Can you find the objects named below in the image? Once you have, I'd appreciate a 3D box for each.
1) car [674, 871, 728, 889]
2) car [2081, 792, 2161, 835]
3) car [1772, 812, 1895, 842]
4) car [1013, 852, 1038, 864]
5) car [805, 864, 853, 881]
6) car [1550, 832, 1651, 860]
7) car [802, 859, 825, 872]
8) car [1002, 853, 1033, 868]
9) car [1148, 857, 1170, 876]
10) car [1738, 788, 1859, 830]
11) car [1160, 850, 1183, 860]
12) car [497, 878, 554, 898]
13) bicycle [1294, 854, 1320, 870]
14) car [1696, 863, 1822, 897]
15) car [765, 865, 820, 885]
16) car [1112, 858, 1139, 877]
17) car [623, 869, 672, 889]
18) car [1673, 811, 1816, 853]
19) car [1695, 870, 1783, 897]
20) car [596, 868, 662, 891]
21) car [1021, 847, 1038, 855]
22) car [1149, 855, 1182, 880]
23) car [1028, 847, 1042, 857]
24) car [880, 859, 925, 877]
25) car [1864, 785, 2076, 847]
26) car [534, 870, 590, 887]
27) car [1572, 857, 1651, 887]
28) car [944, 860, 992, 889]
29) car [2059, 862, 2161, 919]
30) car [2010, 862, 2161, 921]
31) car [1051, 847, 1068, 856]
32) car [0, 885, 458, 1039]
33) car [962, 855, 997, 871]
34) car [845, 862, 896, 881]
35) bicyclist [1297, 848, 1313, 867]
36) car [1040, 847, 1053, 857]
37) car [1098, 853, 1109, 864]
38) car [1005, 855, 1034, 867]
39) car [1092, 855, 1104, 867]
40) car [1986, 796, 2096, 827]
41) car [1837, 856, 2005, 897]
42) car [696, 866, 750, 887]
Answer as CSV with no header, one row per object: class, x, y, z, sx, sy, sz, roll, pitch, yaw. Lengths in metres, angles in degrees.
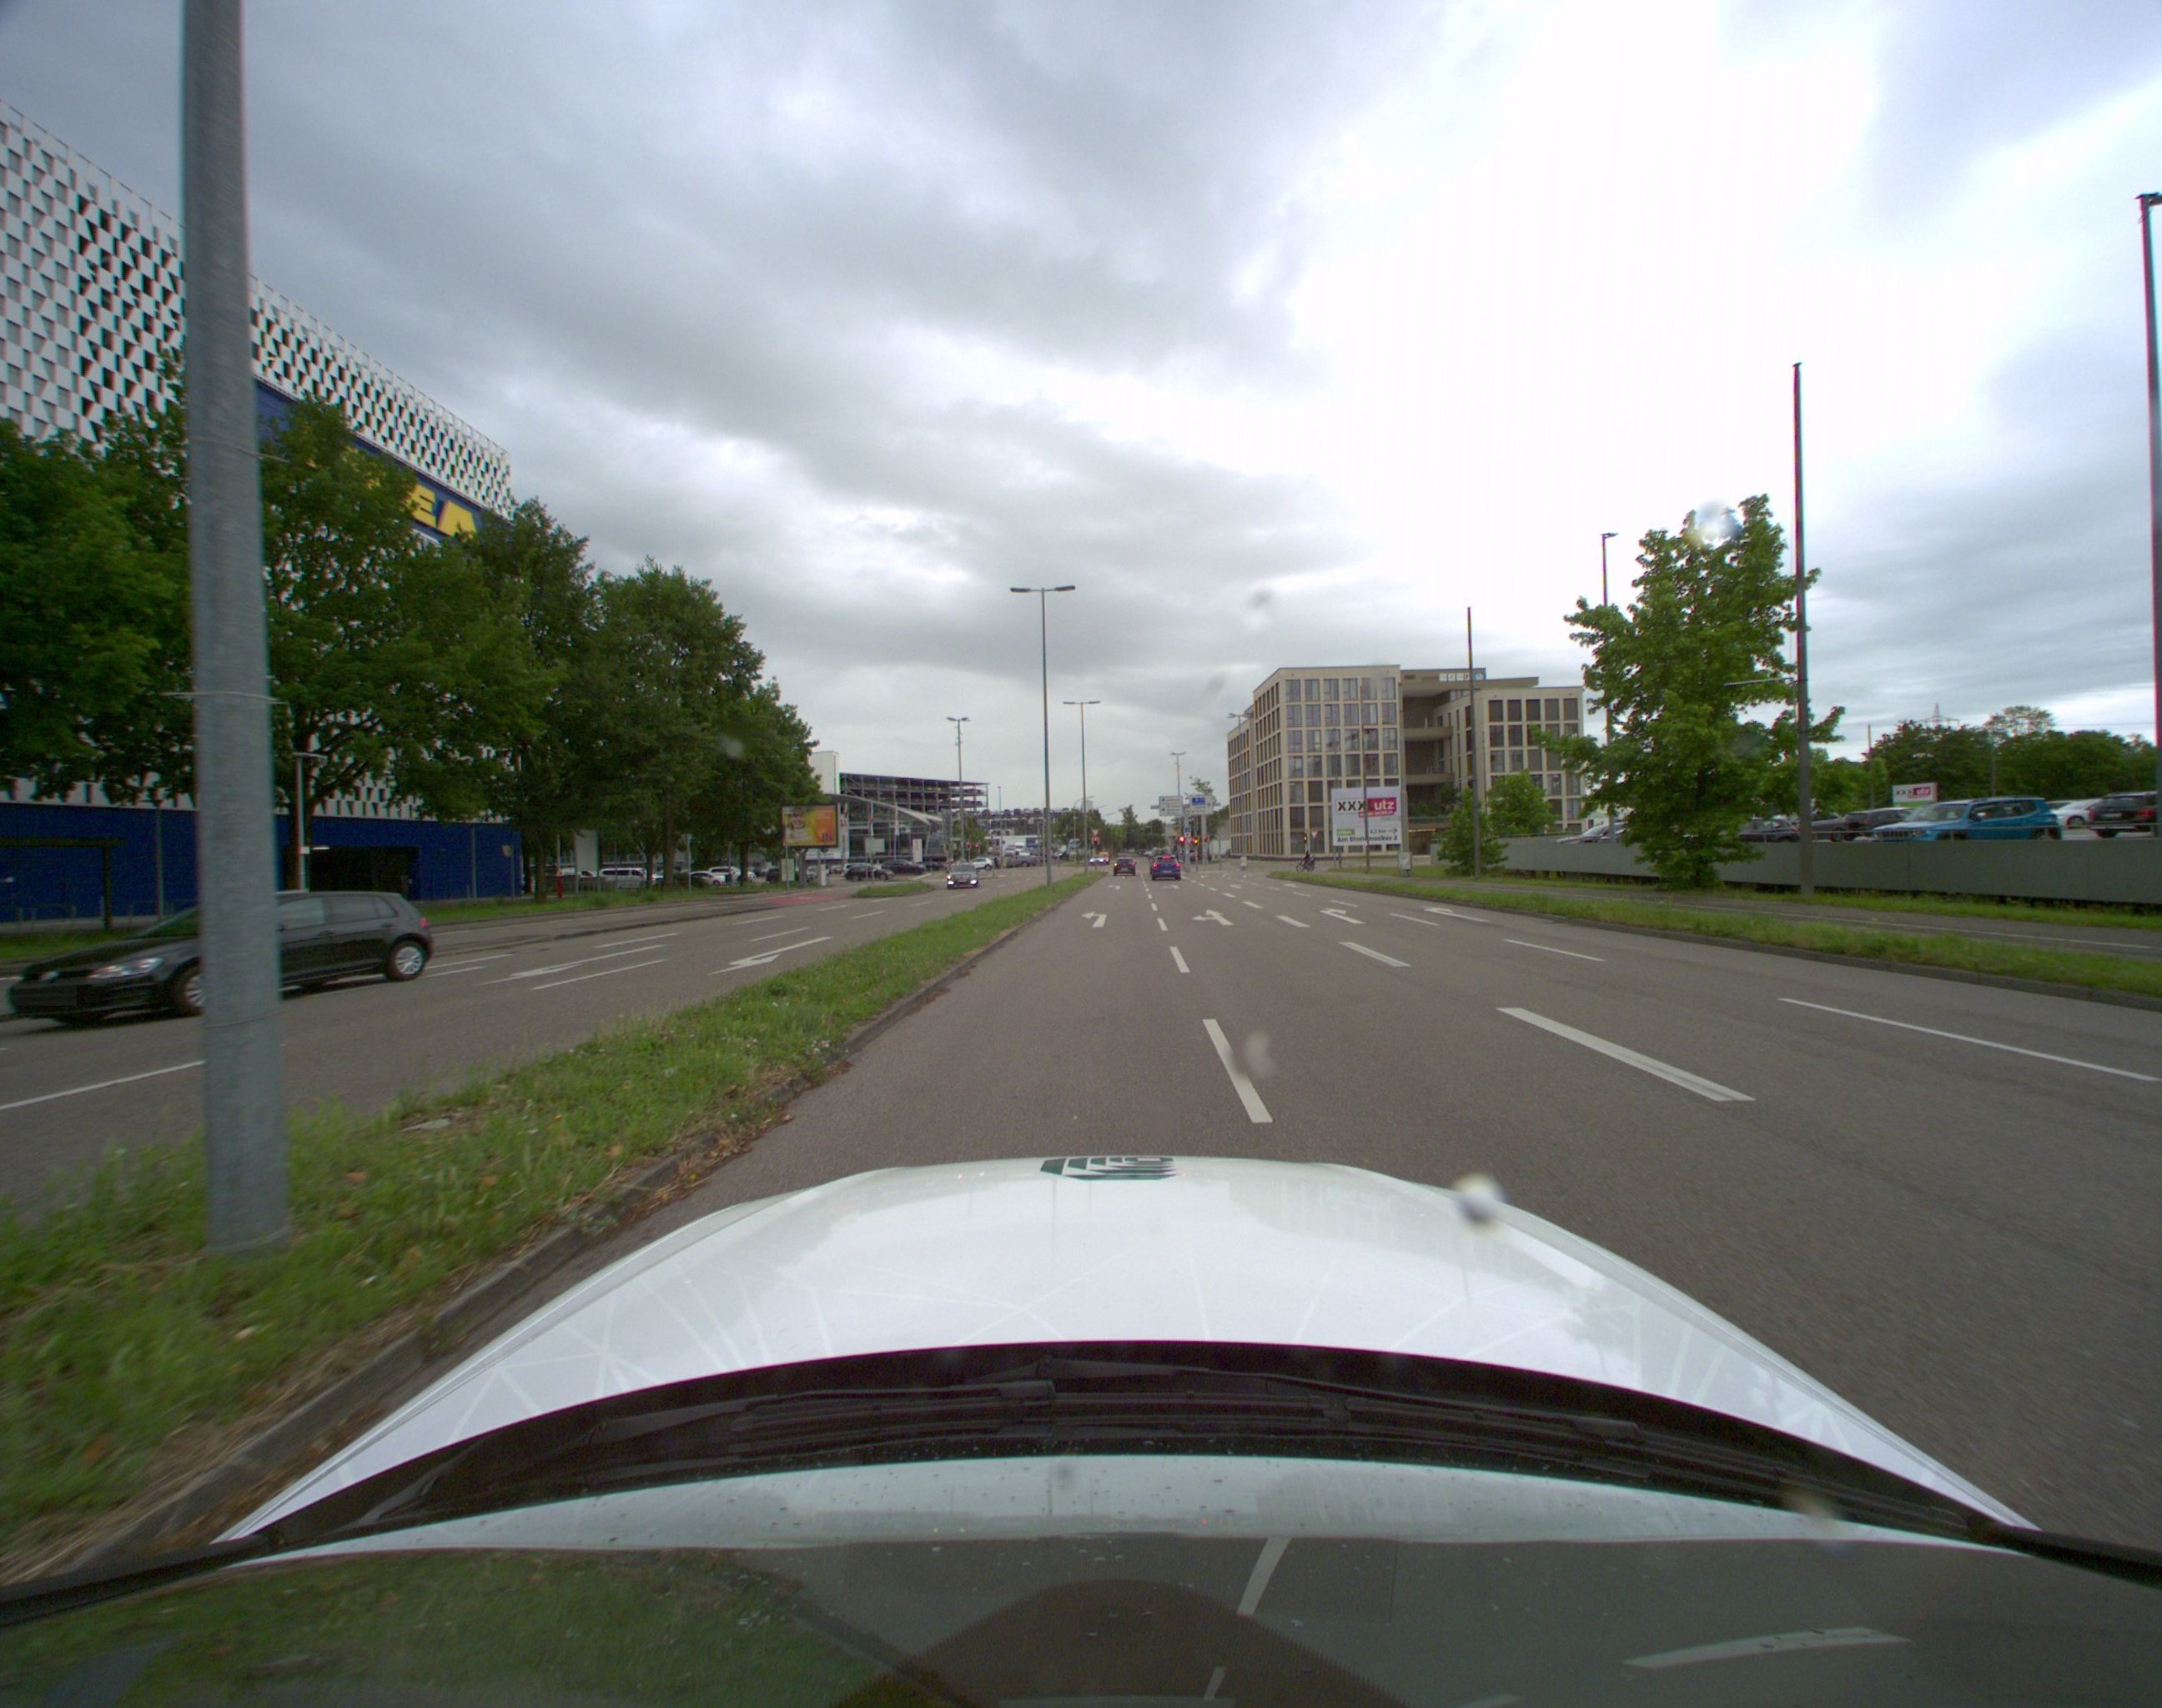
car,-36.338,2.473,77.992,4.215,1.512,1.993,-2,1,-2
car,39.243,-1.502,29.415,3.824,1.507,1.787,-2,1,5
car,36.183,-1.295,39.249,4.082,1.315,1.758,-1,2,10
car,-8.203,0.611,119.856,3.596,1.667,1.548,-2,2,-2
car,-25.261,1.852,81.789,4.240,1.509,1.997,-2,2,-4
car,24.298,-0.373,38.172,3.679,1.176,1.721,-2,1,1
car,-34.075,1.409,103.713,1.592,1.485,3.538,-2,2,2
car,-8.456,0.871,109.254,3.977,1.790,1.846,-2,2,-2
car,6.336,1.023,66.356,1.518,1.432,3.392,-1,1,2
car,41.613,-2.604,47.323,4.987,2.210,2.169,-1,2,6
car,15.508,0.193,139.321,3.571,1.478,1.770,-1,2,23
car,-53.203,3.273,78.006,4.107,1.667,1.847,-2,2,-1
bicycle,18.122,0.631,65.325,0.705,1.295,1.990,-1,0,-33
car,29.798,1.123,35.863,4.039,1.350,1.764,-1,0,1
car,-27.761,2.034,78.371,4.535,1.659,1.997,-3,0,-4
car,3.485,1.096,64.529,1.981,1.428,4.241,-1,-1,1
car,-43.345,2.512,81.429,3.747,1.746,1.881,-2,2,0
car,24.352,-0.797,29.973,3.860,1.384,1.720,-2,1,0
car,36.173,1.596,44.810,3.604,1.285,1.460,-1,2,4
car,-43.279,2.427,78.065,5.118,1.963,1.880,-2,3,-2
car,-11.692,-0.703,184.143,3.656,1.528,1.612,-2,2,-5
car,5.359,0.865,52.034,1.827,1.514,4.002,-2,-1,2
car,-8.655,-0.389,153.196,1.766,1.705,3.925,-1,2,8
car,-18.687,1.433,85.503,4.401,1.643,1.994,-2,2,-9
car,24.685,-1.040,22.706,4.057,1.524,1.811,-2,1,-2
car,-51.771,2.409,81.322,4.215,1.504,1.993,-2,1,-2
car,37.822,1.233,58.231,2.445,2.013,5.112,-1,0,3
car,-6.647,1.197,48.406,1.783,1.479,4.537,-3,0,5
car,23.899,0.754,17.623,3.500,1.131,1.607,-1,0,1
car,34.751,1.234,27.477,4.348,1.832,2.002,-1,0,3
car,-4.309,-0.510,163.174,3.285,1.640,1.479,-2,2,-1
car,-11.341,1.307,11.205,1.921,1.455,4.190,-4,-1,7
car,-11.662,1.013,93.992,3.938,1.567,1.756,-2,2,-7
car,-20.320,1.702,78.789,4.408,1.660,1.997,-1,0,-4
bicyclist,17.986,0.260,65.508,0.705,1.504,0.990,-1,0,-34
car,-6.473,-0.449,153.153,1.766,1.705,3.925,-1,2,8
car,3.363,0.624,120.863,1.594,1.453,3.327,-2,2,3
car,-8.430,0.949,111.438,3.813,1.589,1.681,-2,2,-2
car,2.357,0.921,112.747,1.594,1.453,3.327,-2,2,3
car,54.666,-2.388,46.443,3.971,1.578,1.868,-1,0,2
car,29.610,0.769,28.800,4.038,1.350,1.765,-1,0,2
car,-35.852,2.239,81.603,4.423,1.711,1.999,-2,3,-3
